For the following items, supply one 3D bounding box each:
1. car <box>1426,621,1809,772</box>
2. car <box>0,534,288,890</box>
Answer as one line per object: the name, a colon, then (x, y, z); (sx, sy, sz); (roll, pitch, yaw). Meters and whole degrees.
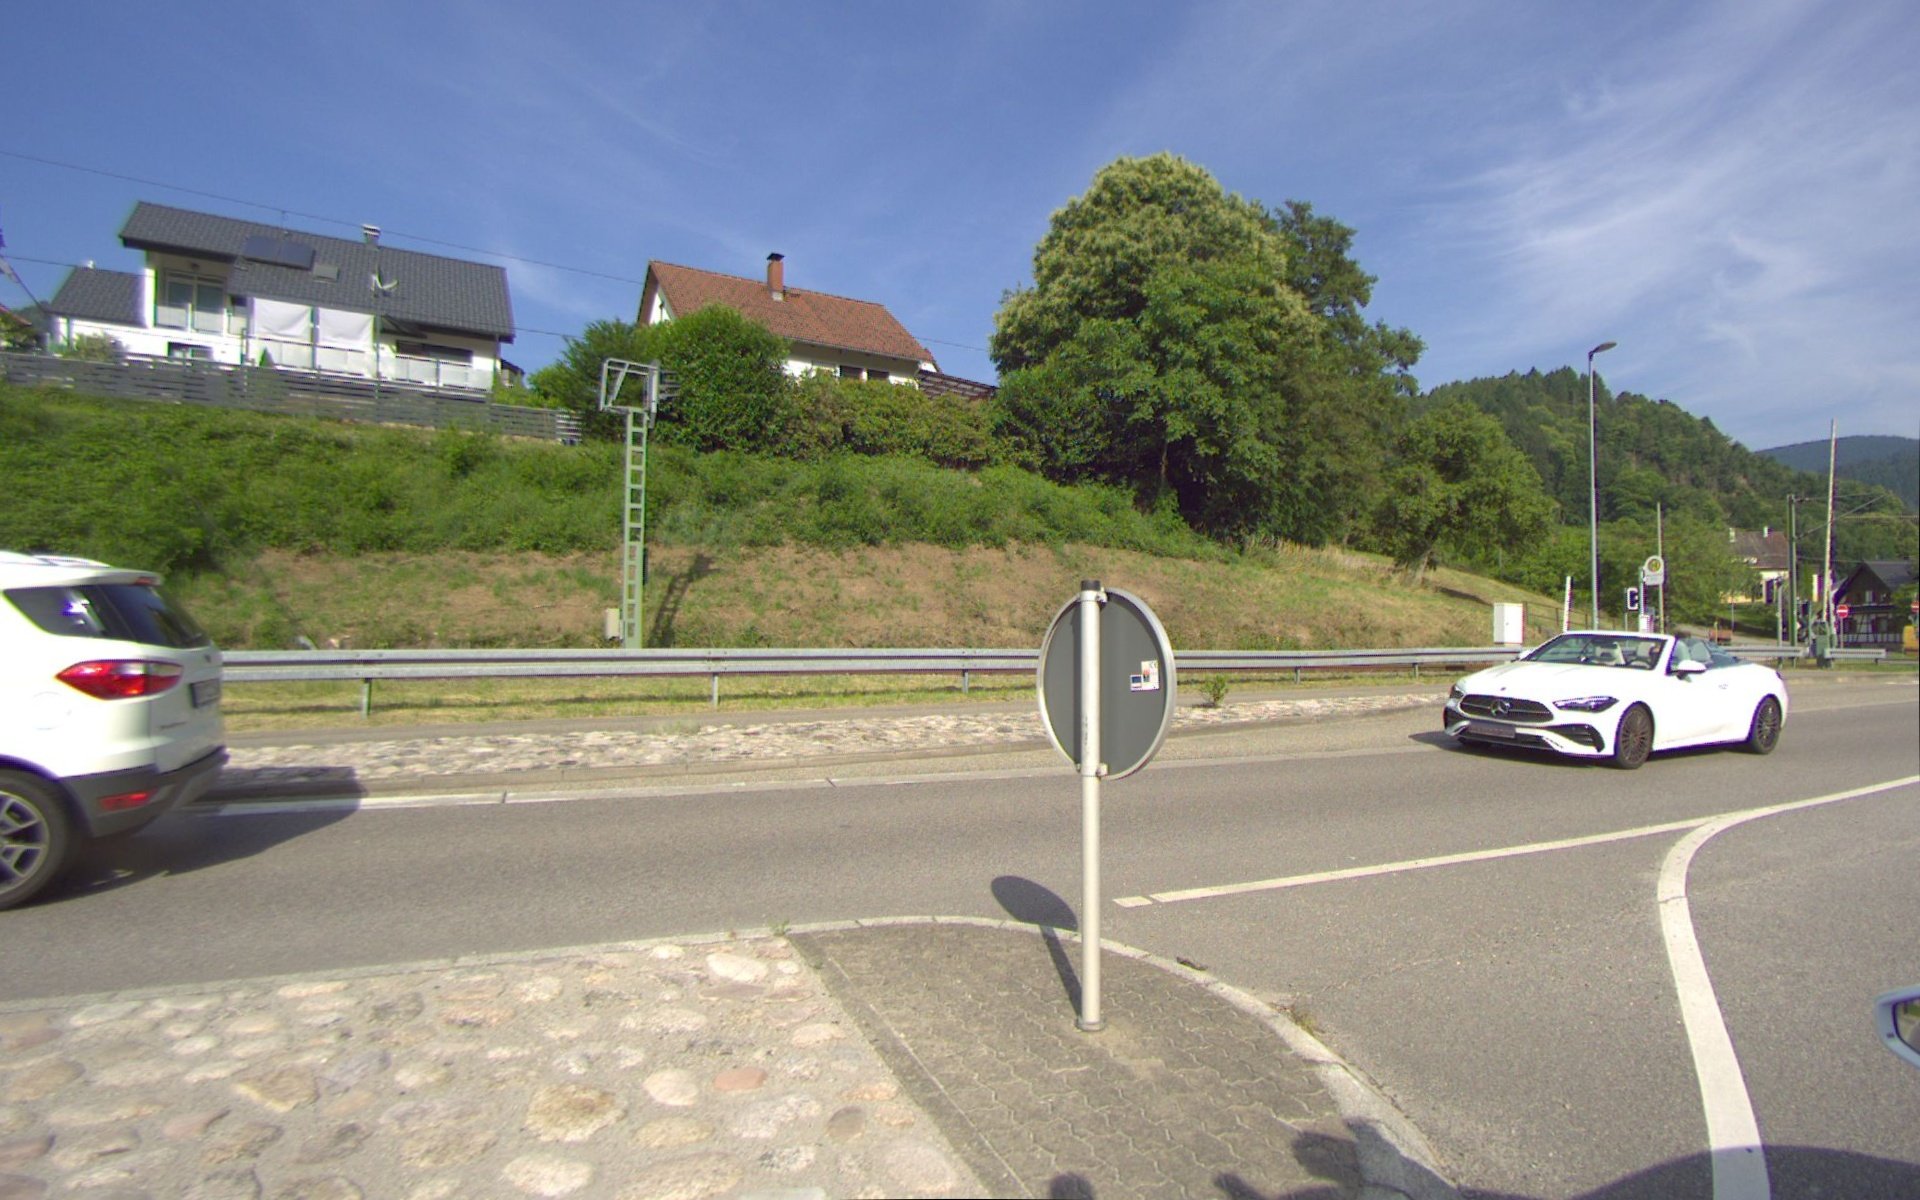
car: (7.712, 1.016, 11.661); (4.770, 1.418, 1.773); (2, -1, -30)
car: (-5.655, 0.477, 4.711); (3.950, 1.581, 1.757); (1, -1, -28)
